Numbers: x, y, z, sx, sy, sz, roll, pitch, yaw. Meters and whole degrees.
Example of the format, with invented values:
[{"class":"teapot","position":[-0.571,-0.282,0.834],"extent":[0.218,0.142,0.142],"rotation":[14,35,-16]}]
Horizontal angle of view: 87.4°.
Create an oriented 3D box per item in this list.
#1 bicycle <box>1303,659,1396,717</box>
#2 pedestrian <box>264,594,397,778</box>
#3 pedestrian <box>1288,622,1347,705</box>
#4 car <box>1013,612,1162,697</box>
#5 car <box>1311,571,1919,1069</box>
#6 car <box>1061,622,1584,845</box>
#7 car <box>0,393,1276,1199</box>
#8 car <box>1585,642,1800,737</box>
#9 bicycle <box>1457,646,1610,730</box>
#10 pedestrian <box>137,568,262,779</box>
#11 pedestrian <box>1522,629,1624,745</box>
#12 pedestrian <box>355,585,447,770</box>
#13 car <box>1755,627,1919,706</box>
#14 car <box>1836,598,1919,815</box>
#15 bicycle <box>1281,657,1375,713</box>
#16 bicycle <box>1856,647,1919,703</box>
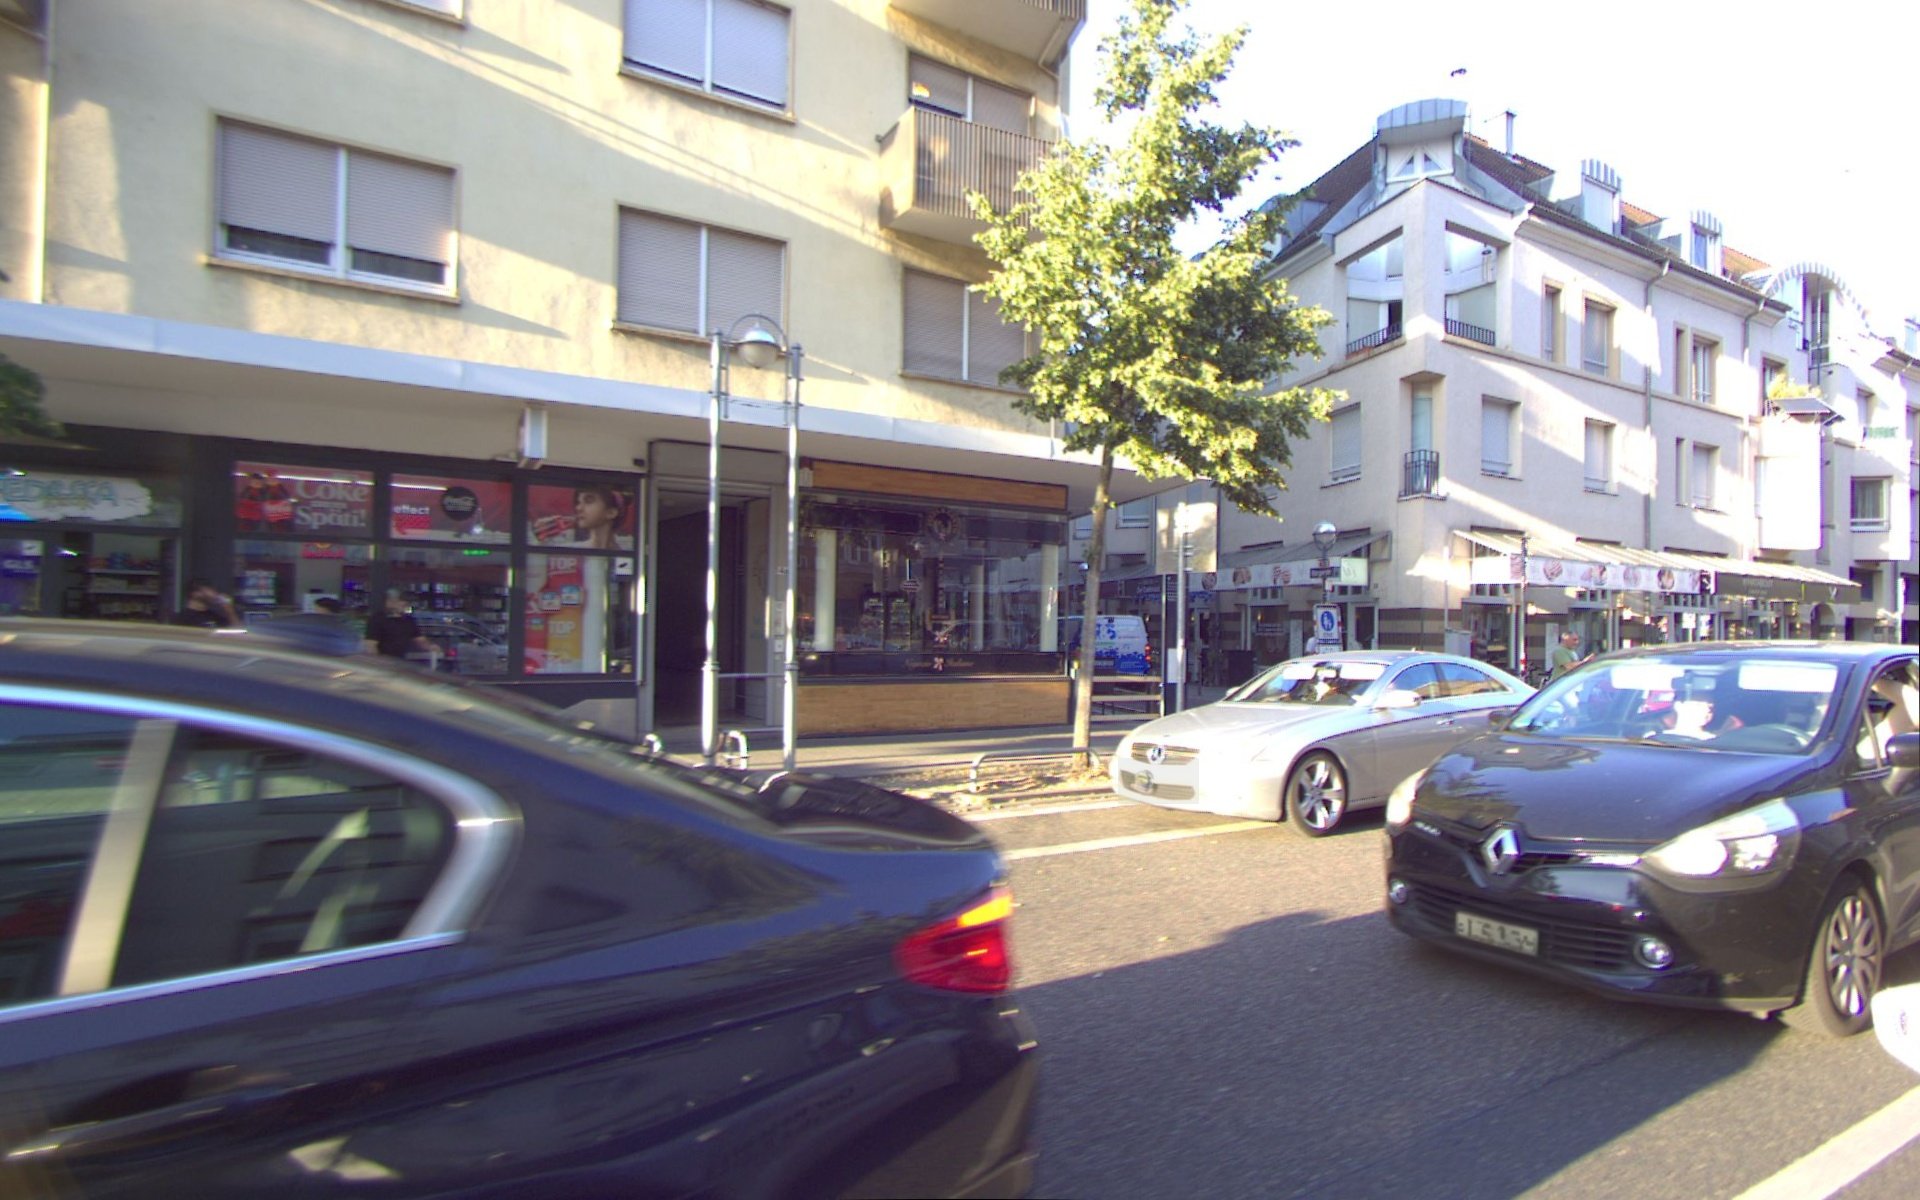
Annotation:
[{"class":"bicycle","position":[7.225,1.611,18.589],"extent":[1.994,1.005,0.487],"rotation":[2,-1,-32]},{"class":"pedestrian","position":[-6.090,0.805,9.757],"extent":[0.728,1.698,0.770],"rotation":[1,-1,12]},{"class":"pedestrian","position":[7.600,1.329,21.379],"extent":[0.767,1.698,0.904],"rotation":[2,-1,-16]},{"class":"car","position":[3.026,1.263,25.065],"extent":[1.967,1.852,4.866],"rotation":[2,-1,-15]},{"class":"car","position":[3.962,0.805,5.048],"extent":[4.412,1.570,1.716],"rotation":[2,-3,-30]},{"class":"car","position":[3.282,1.060,8.925],"extent":[4.457,1.531,1.985],"rotation":[2,-5,-30]},{"class":"car","position":[-1.914,0.655,1.381],"extent":[4.561,1.666,1.937],"rotation":[2,-3,-30]},{"class":"car","position":[12.774,1.507,17.481],"extent":[3.839,1.421,1.652],"rotation":[2,-1,-31]},{"class":"bicycle","position":[9.983,1.492,17.428],"extent":[3.093,1.317,0.953],"rotation":[2,-1,-32]},{"class":"pedestrian","position":[-7.071,0.657,9.383],"extent":[0.732,1.872,0.766],"rotation":[0,-1,-20]},{"class":"pedestrian","position":[9.400,1.317,15.441],"extent":[0.973,1.698,0.907],"rotation":[-2,-2,4]},{"class":"pedestrian","position":[-5.856,0.790,10.566],"extent":[0.803,1.843,0.738],"rotation":[1,-2,-28]},{"class":"car","position":[18.474,1.375,20.992],"extent":[3.681,1.473,1.703],"rotation":[2,-1,-30]},{"class":"car","position":[9.633,0.896,8.590],"extent":[4.686,1.666,1.930],"rotation":[3,-3,-32]},{"class":"bicycle","position":[7.008,1.608,19.097],"extent":[1.991,1.005,0.487],"rotation":[2,-1,-29]},{"class":"bicycle","position":[24.245,1.944,26.221],"extent":[2.332,1.393,0.607],"rotation":[2,-1,-31]}]
